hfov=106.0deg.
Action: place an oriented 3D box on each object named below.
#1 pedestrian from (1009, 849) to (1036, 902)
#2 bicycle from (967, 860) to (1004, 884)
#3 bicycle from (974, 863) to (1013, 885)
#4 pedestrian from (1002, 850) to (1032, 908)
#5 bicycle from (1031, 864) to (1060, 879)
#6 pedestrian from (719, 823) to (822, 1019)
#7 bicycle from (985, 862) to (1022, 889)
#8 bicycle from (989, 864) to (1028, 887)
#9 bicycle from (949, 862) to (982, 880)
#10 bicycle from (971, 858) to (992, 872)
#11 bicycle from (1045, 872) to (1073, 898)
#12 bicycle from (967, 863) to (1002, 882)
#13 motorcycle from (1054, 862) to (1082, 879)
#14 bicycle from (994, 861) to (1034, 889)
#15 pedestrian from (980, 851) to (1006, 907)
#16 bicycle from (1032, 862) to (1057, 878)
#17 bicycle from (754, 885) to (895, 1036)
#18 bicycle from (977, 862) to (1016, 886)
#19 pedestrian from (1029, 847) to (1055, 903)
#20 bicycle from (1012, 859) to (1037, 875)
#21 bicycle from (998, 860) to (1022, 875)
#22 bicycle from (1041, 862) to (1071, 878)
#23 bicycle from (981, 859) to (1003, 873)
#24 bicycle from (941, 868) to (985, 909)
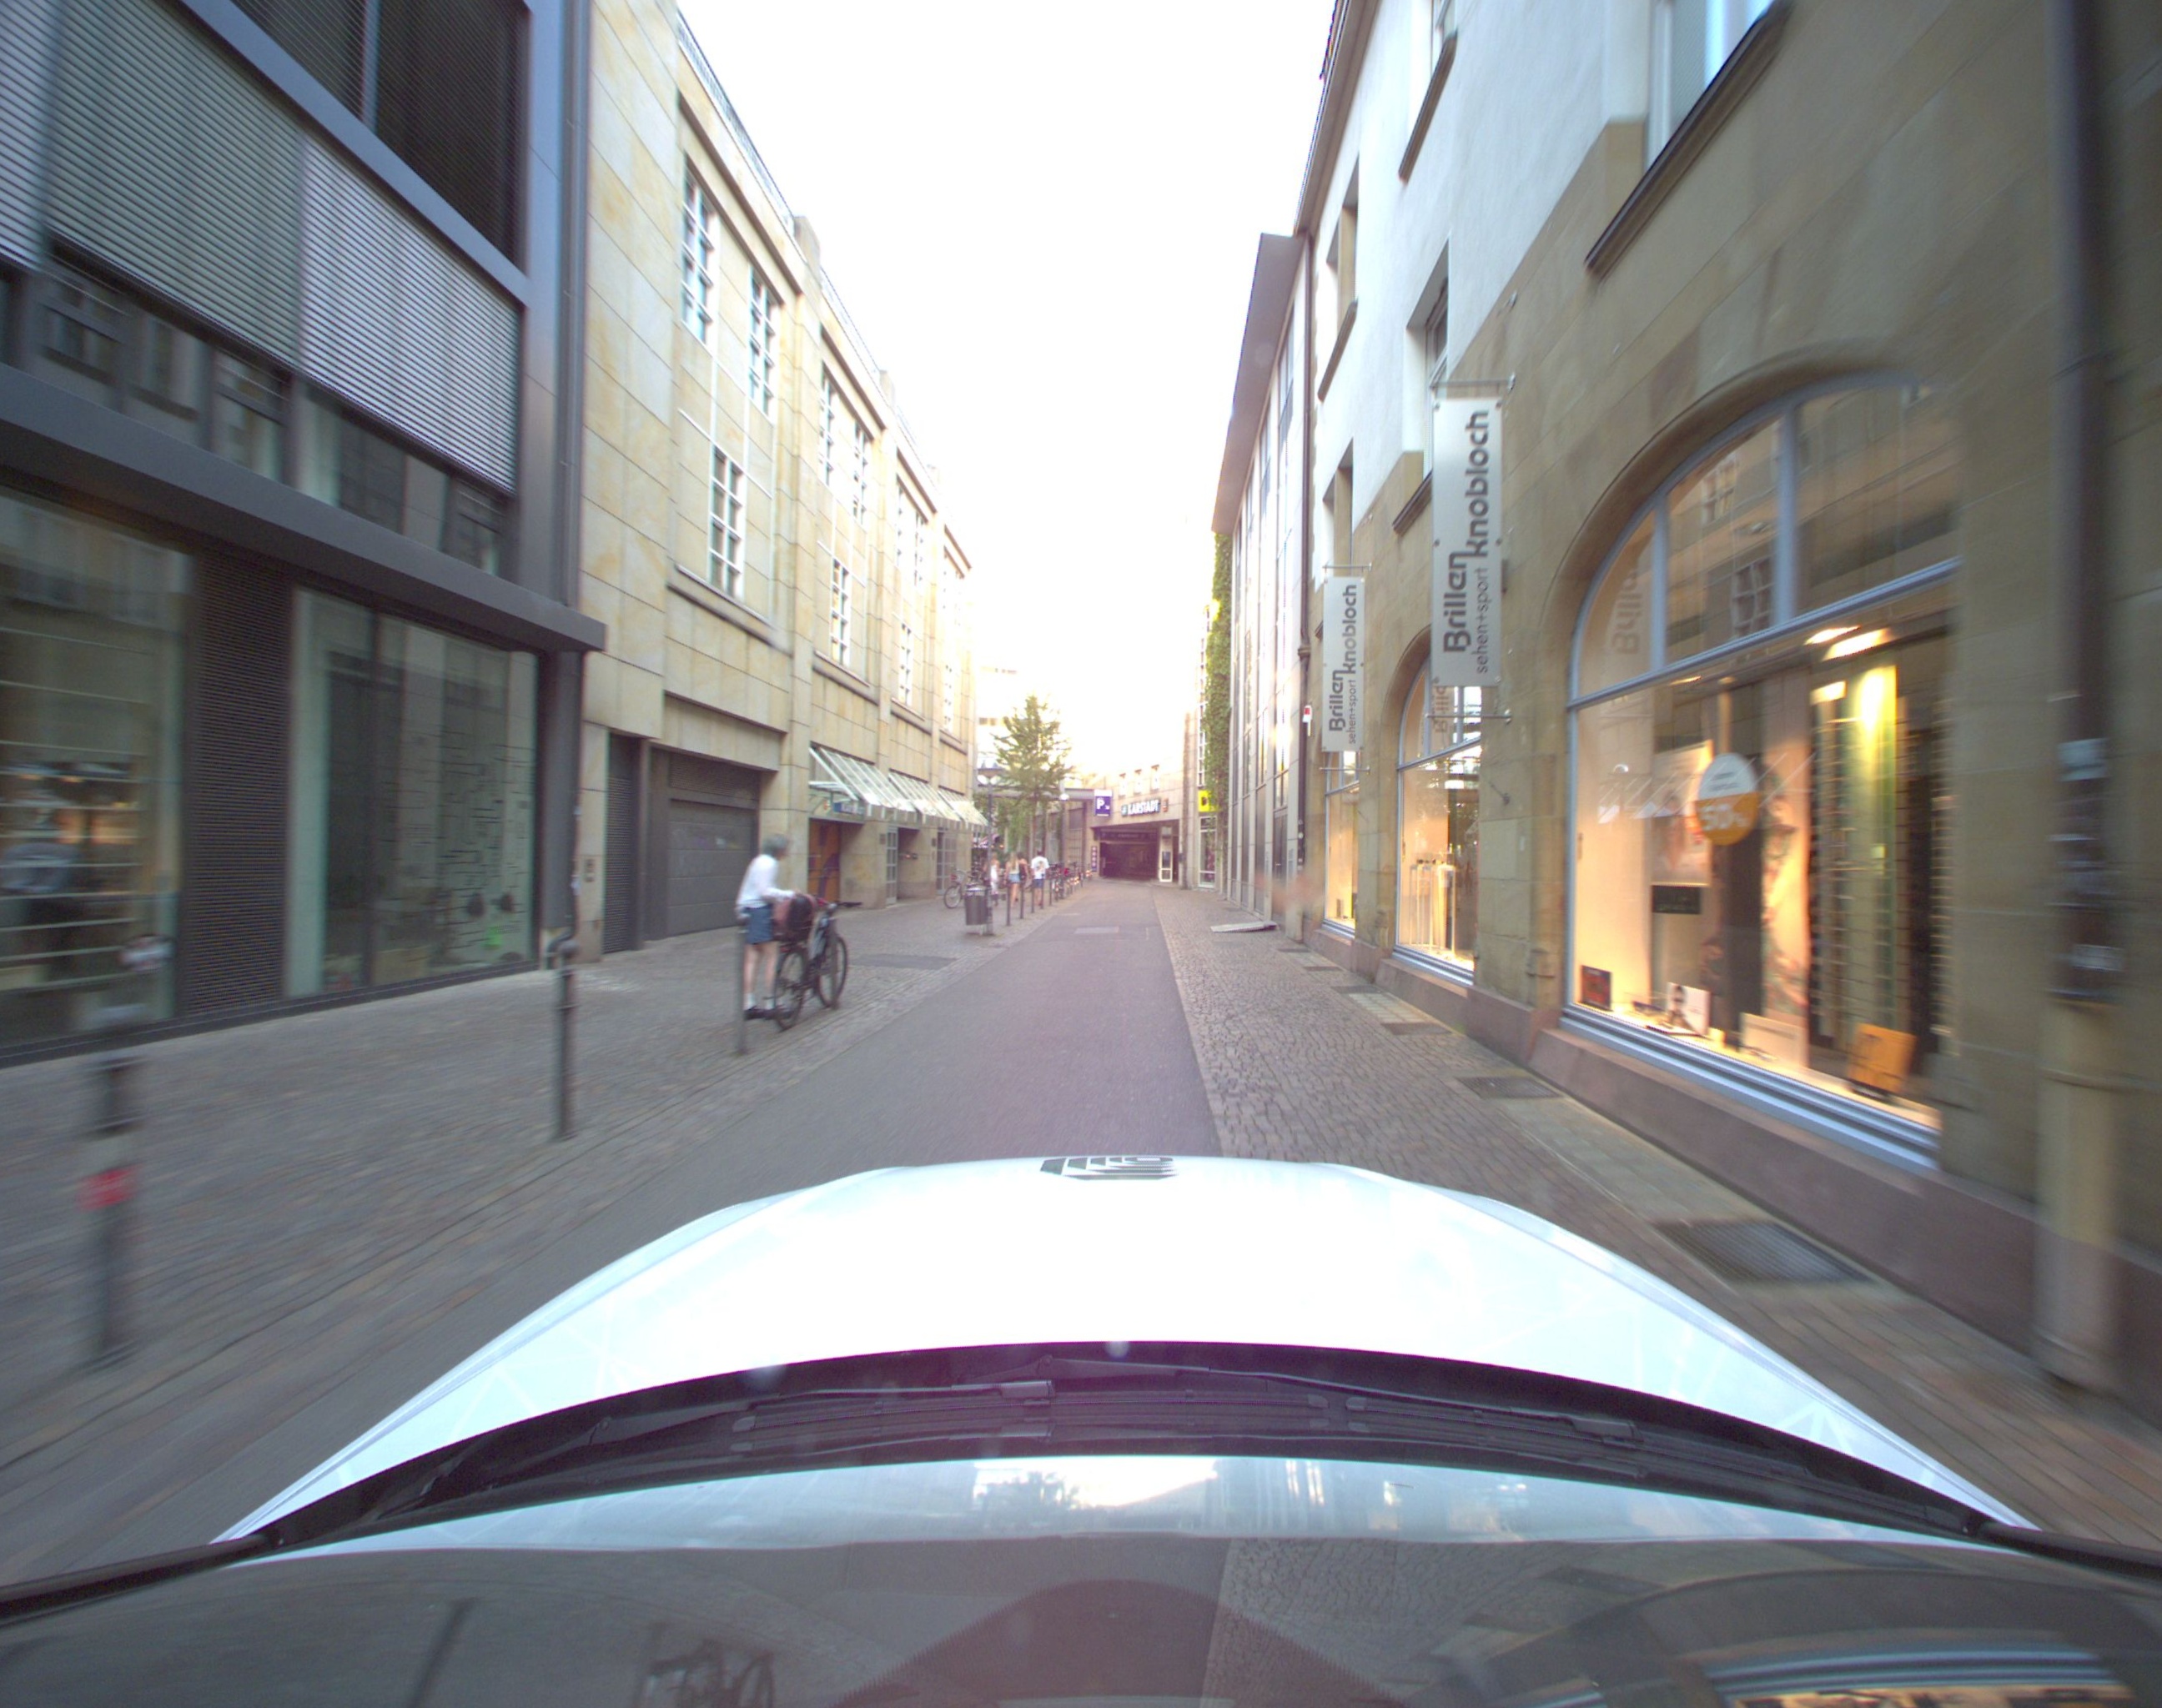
[{"bbox_3d":[-1.994,0.734,27.965,0.782,1.795,0.973,0,0,3],"label":"pedestrian"},{"bbox_3d":[-4.902,0.921,41.754,1.839,1.225,0.531,0,0,-19],"label":"bicycle"},{"bbox_3d":[-4.429,1.006,41.054,1.900,1.052,0.531,0,0,-19],"label":"bicycle"},{"bbox_3d":[-1.954,0.746,24.859,0.803,1.729,0.949,1,0,1],"label":"pedestrian"},{"bbox_3d":[-2.256,1.112,51.963,1.777,0.904,0.461,0,0,-17],"label":"bicycle"},{"bbox_3d":[-2.845,0.596,7.531,0.769,1.718,0.588,2,0,-17],"label":"pedestrian"},{"bbox_3d":[-3.689,1.010,38.635,1.659,1.231,0.531,0,0,-19],"label":"bicycle"},{"bbox_3d":[-3.518,1.030,39.520,1.842,1.122,0.531,0,0,-19],"label":"bicycle"},{"bbox_3d":[-6.743,0.997,47.402,1.830,1.043,0.531,0,0,-19],"label":"bicycle"},{"bbox_3d":[-8.987,0.980,73.368,1.777,1.190,0.583,0,0,-17],"label":"bicycle"},{"bbox_3d":[-0.824,1.154,30.746,0.489,0.939,1.667,2,0,19],"label":"bicycle"},{"bbox_3d":[-5.416,1.008,45.572,1.882,1.043,0.531,0,0,-19],"label":"bicycle"},{"bbox_3d":[-0.792,1.007,49.392,1.667,1.050,0.461,0,0,-17],"label":"motorcycle"},{"bbox_3d":[-3.057,0.954,37.321,1.772,1.231,0.531,0,0,-19],"label":"bicycle"},{"bbox_3d":[-2.683,0.759,24.822,0.672,1.664,0.860,1,0,0],"label":"pedestrian"},{"bbox_3d":[-2.383,1.029,52.908,1.543,1.049,0.572,0,0,-17],"label":"bicycle"},{"bbox_3d":[-2.349,0.919,7.722,0.530,1.153,1.917,2,0,5],"label":"bicycle"},{"bbox_3d":[-4.184,0.973,40.510,1.878,1.177,0.531,0,0,-19],"label":"bicycle"},{"bbox_3d":[-1.298,0.681,26.850,0.742,1.822,0.874,0,0,-12],"label":"pedestrian"},{"bbox_3d":[-4.150,0.964,59.868,1.777,1.114,0.539,0,0,-17],"label":"bicycle"},{"bbox_3d":[-5.447,1.037,62.195,1.777,1.114,0.539,0,0,-17],"label":"bicycle"},{"bbox_3d":[-1.557,1.001,51.060,1.852,0.982,0.461,0,0,-17],"label":"bicycle"},{"bbox_3d":[-7.439,1.005,68.085,1.776,1.114,0.540,0,0,-15],"label":"bicycle"},{"bbox_3d":[-3.469,1.001,24.053,0.517,1.138,1.773,0,0,20],"label":"bicycle"}]
